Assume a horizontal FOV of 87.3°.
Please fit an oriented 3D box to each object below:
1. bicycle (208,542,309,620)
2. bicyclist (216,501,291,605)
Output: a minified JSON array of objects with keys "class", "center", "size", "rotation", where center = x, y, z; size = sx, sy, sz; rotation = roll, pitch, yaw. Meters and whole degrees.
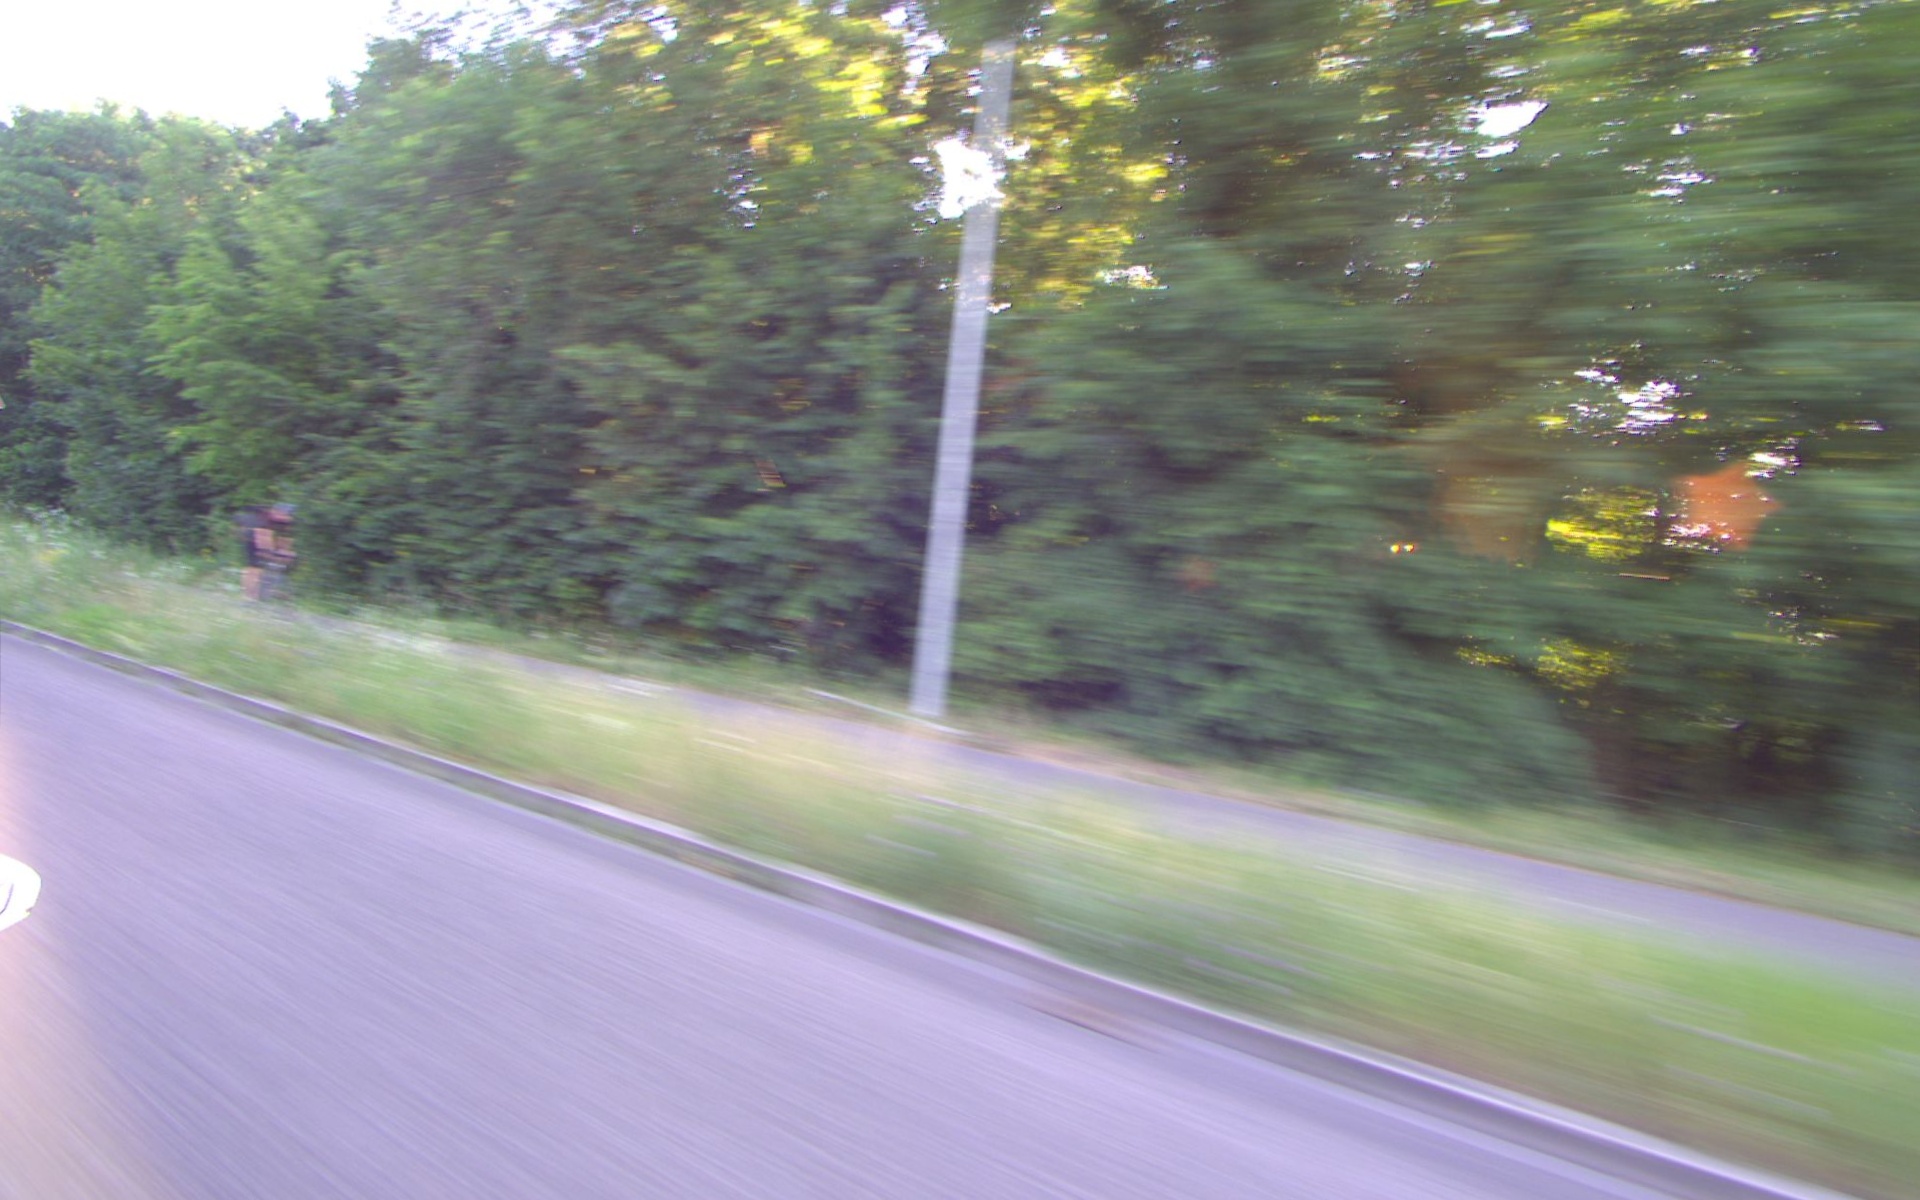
[{"class":"bicycle","center":[-10.574,-0.298,15.143],"size":[1.663,1.008,0.611],"rotation":[6,1,33]},{"class":"bicyclist","center":[-10.679,-0.707,15.203],"size":[0.767,1.474,0.603],"rotation":[7,2,33]}]
